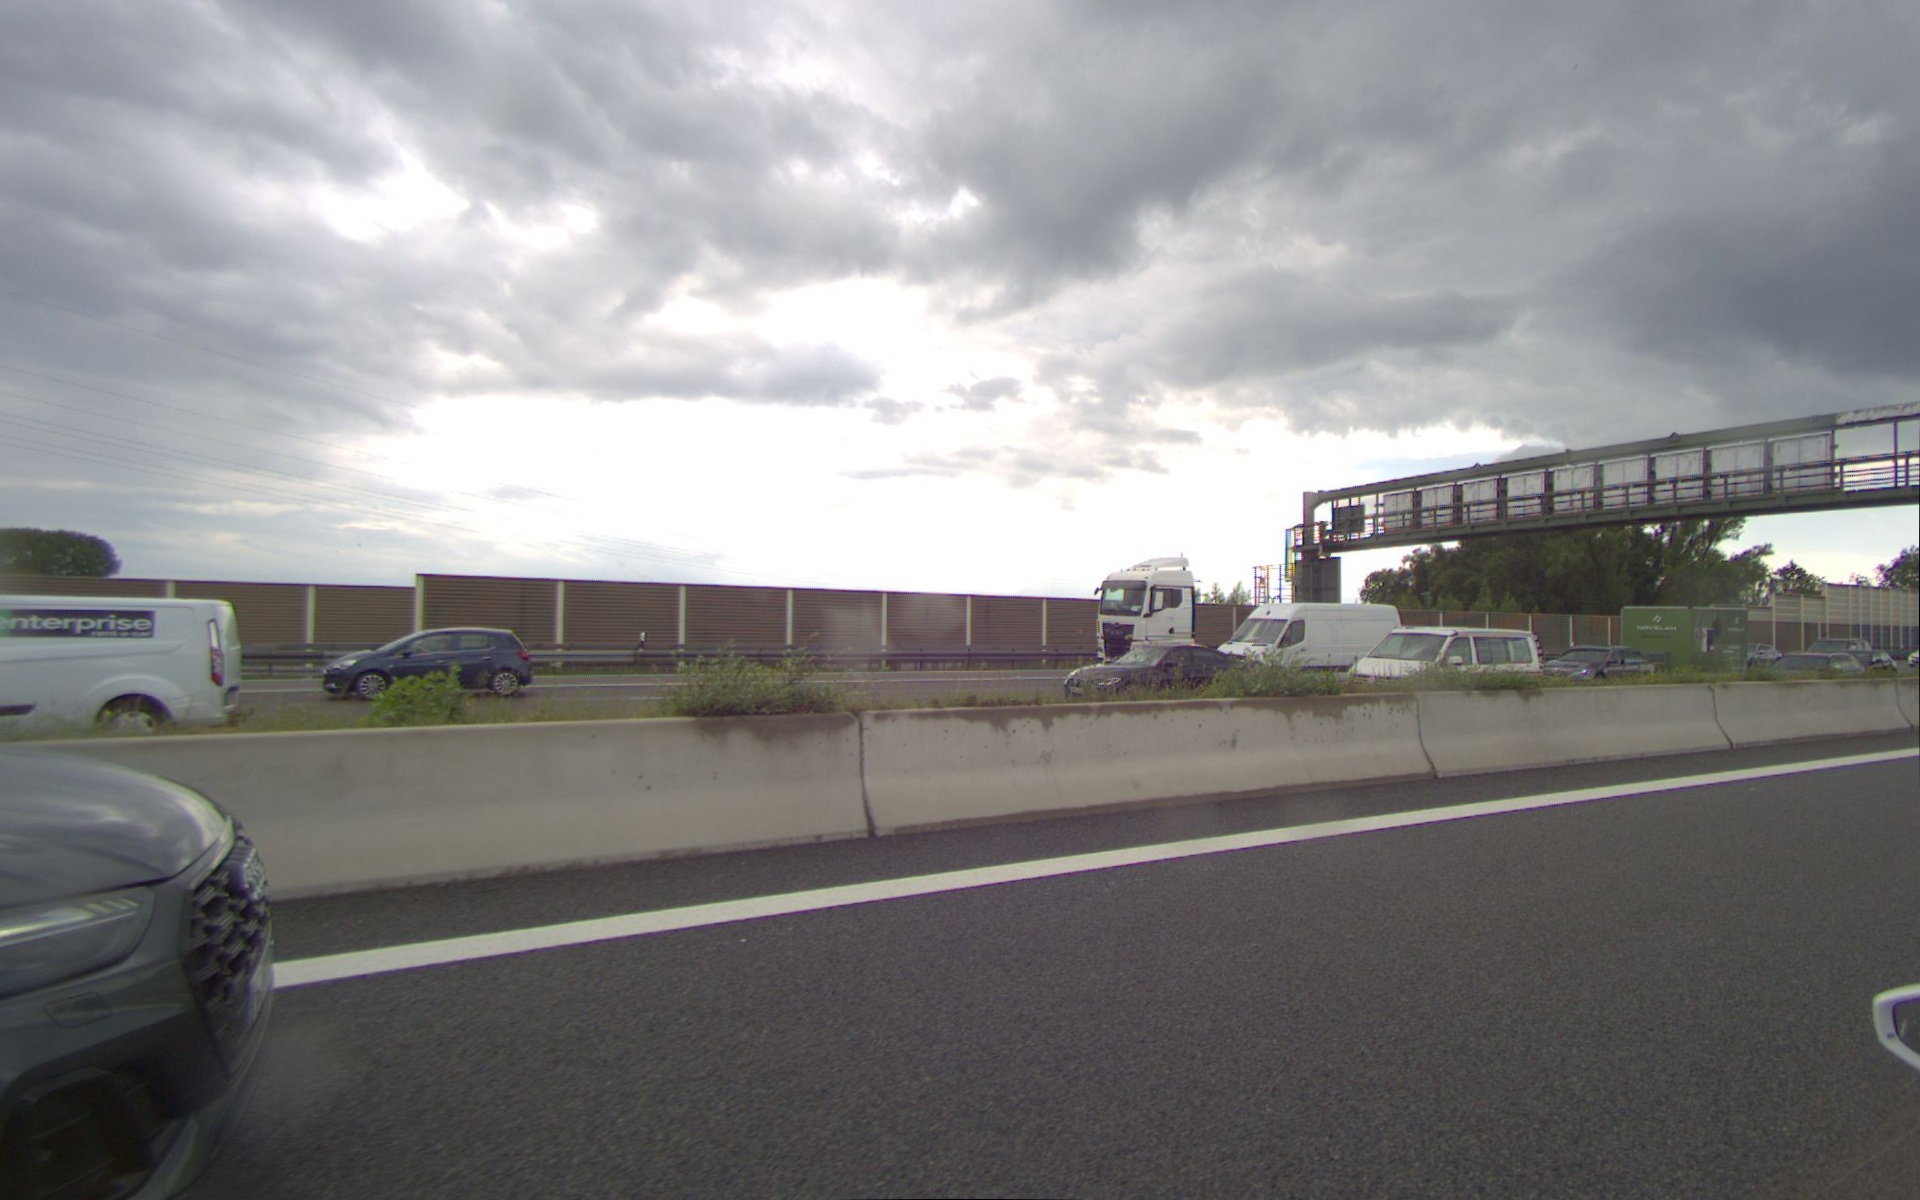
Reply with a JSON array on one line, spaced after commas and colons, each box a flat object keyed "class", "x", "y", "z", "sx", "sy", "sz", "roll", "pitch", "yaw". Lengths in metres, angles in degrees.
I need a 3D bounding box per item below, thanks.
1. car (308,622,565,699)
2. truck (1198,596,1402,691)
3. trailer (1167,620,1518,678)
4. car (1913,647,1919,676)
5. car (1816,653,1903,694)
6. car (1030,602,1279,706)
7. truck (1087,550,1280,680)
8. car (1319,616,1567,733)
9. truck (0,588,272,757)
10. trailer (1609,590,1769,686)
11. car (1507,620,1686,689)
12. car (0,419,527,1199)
[{"class": "car", "x": -11.173, "y": 1.267, "z": 21.694, "sx": 4.716, "sy": 1.507, "sz": 1.799, "roll": 2, "pitch": -2, "yaw": -30}, {"class": "truck", "x": 10.438, "y": 1.316, "z": 30.662, "sx": 6.482, "sy": 2.638, "sz": 2.233, "roll": 2, "pitch": -2, "yaw": -31}, {"class": "trailer", "x": 14.792, "y": 1.768, "z": 37.514, "sx": 16.155, "sy": 1.853, "sz": 2.740, "roll": 1, "pitch": -2, "yaw": -30}, {"class": "car", "x": 57.148, "y": 3.580, "z": 58.103, "sx": 4.473, "sy": 1.652, "sz": 1.813, "roll": 1, "pitch": -1, "yaw": -31}, {"class": "car", "x": 37.589, "y": 3.030, "z": 41.955, "sx": 3.831, "sy": 1.598, "sz": 1.674, "roll": 1, "pitch": -1, "yaw": -31}, {"class": "car", "x": 4.489, "y": 1.196, "z": 22.942, "sx": 5.475, "sy": 2.142, "sz": 2.233, "roll": 2, "pitch": -2, "yaw": -30}, {"class": "truck", "x": 7.427, "y": 0.537, "z": 33.262, "sx": 5.978, "sy": 3.939, "sz": 2.740, "roll": 1, "pitch": -1, "yaw": -30}, {"class": "car", "x": 10.583, "y": 1.540, "z": 21.921, "sx": 5.447, "sy": 2.266, "sz": 2.220, "roll": 2, "pitch": -2, "yaw": -30}, {"class": "truck", "x": -12.276, "y": 0.883, "z": 12.906, "sx": 5.481, "sy": 2.026, "sz": 2.232, "roll": 2, "pitch": -2, "yaw": -31}, {"class": "trailer", "x": 26.132, "y": 1.339, "z": 35.945, "sx": 5.978, "sy": 3.180, "sz": 2.438, "roll": 1, "pitch": -1, "yaw": -30}, {"class": "car", "x": 20.892, "y": 1.740, "z": 32.908, "sx": 6.120, "sy": 2.078, "sz": 2.438, "roll": 1, "pitch": -1, "yaw": -30}, {"class": "car", "x": -3.484, "y": 0.548, "z": 1.378, "sx": 5.109, "sy": 1.713, "sz": 1.899, "roll": 1, "pitch": -1, "yaw": -31}]
